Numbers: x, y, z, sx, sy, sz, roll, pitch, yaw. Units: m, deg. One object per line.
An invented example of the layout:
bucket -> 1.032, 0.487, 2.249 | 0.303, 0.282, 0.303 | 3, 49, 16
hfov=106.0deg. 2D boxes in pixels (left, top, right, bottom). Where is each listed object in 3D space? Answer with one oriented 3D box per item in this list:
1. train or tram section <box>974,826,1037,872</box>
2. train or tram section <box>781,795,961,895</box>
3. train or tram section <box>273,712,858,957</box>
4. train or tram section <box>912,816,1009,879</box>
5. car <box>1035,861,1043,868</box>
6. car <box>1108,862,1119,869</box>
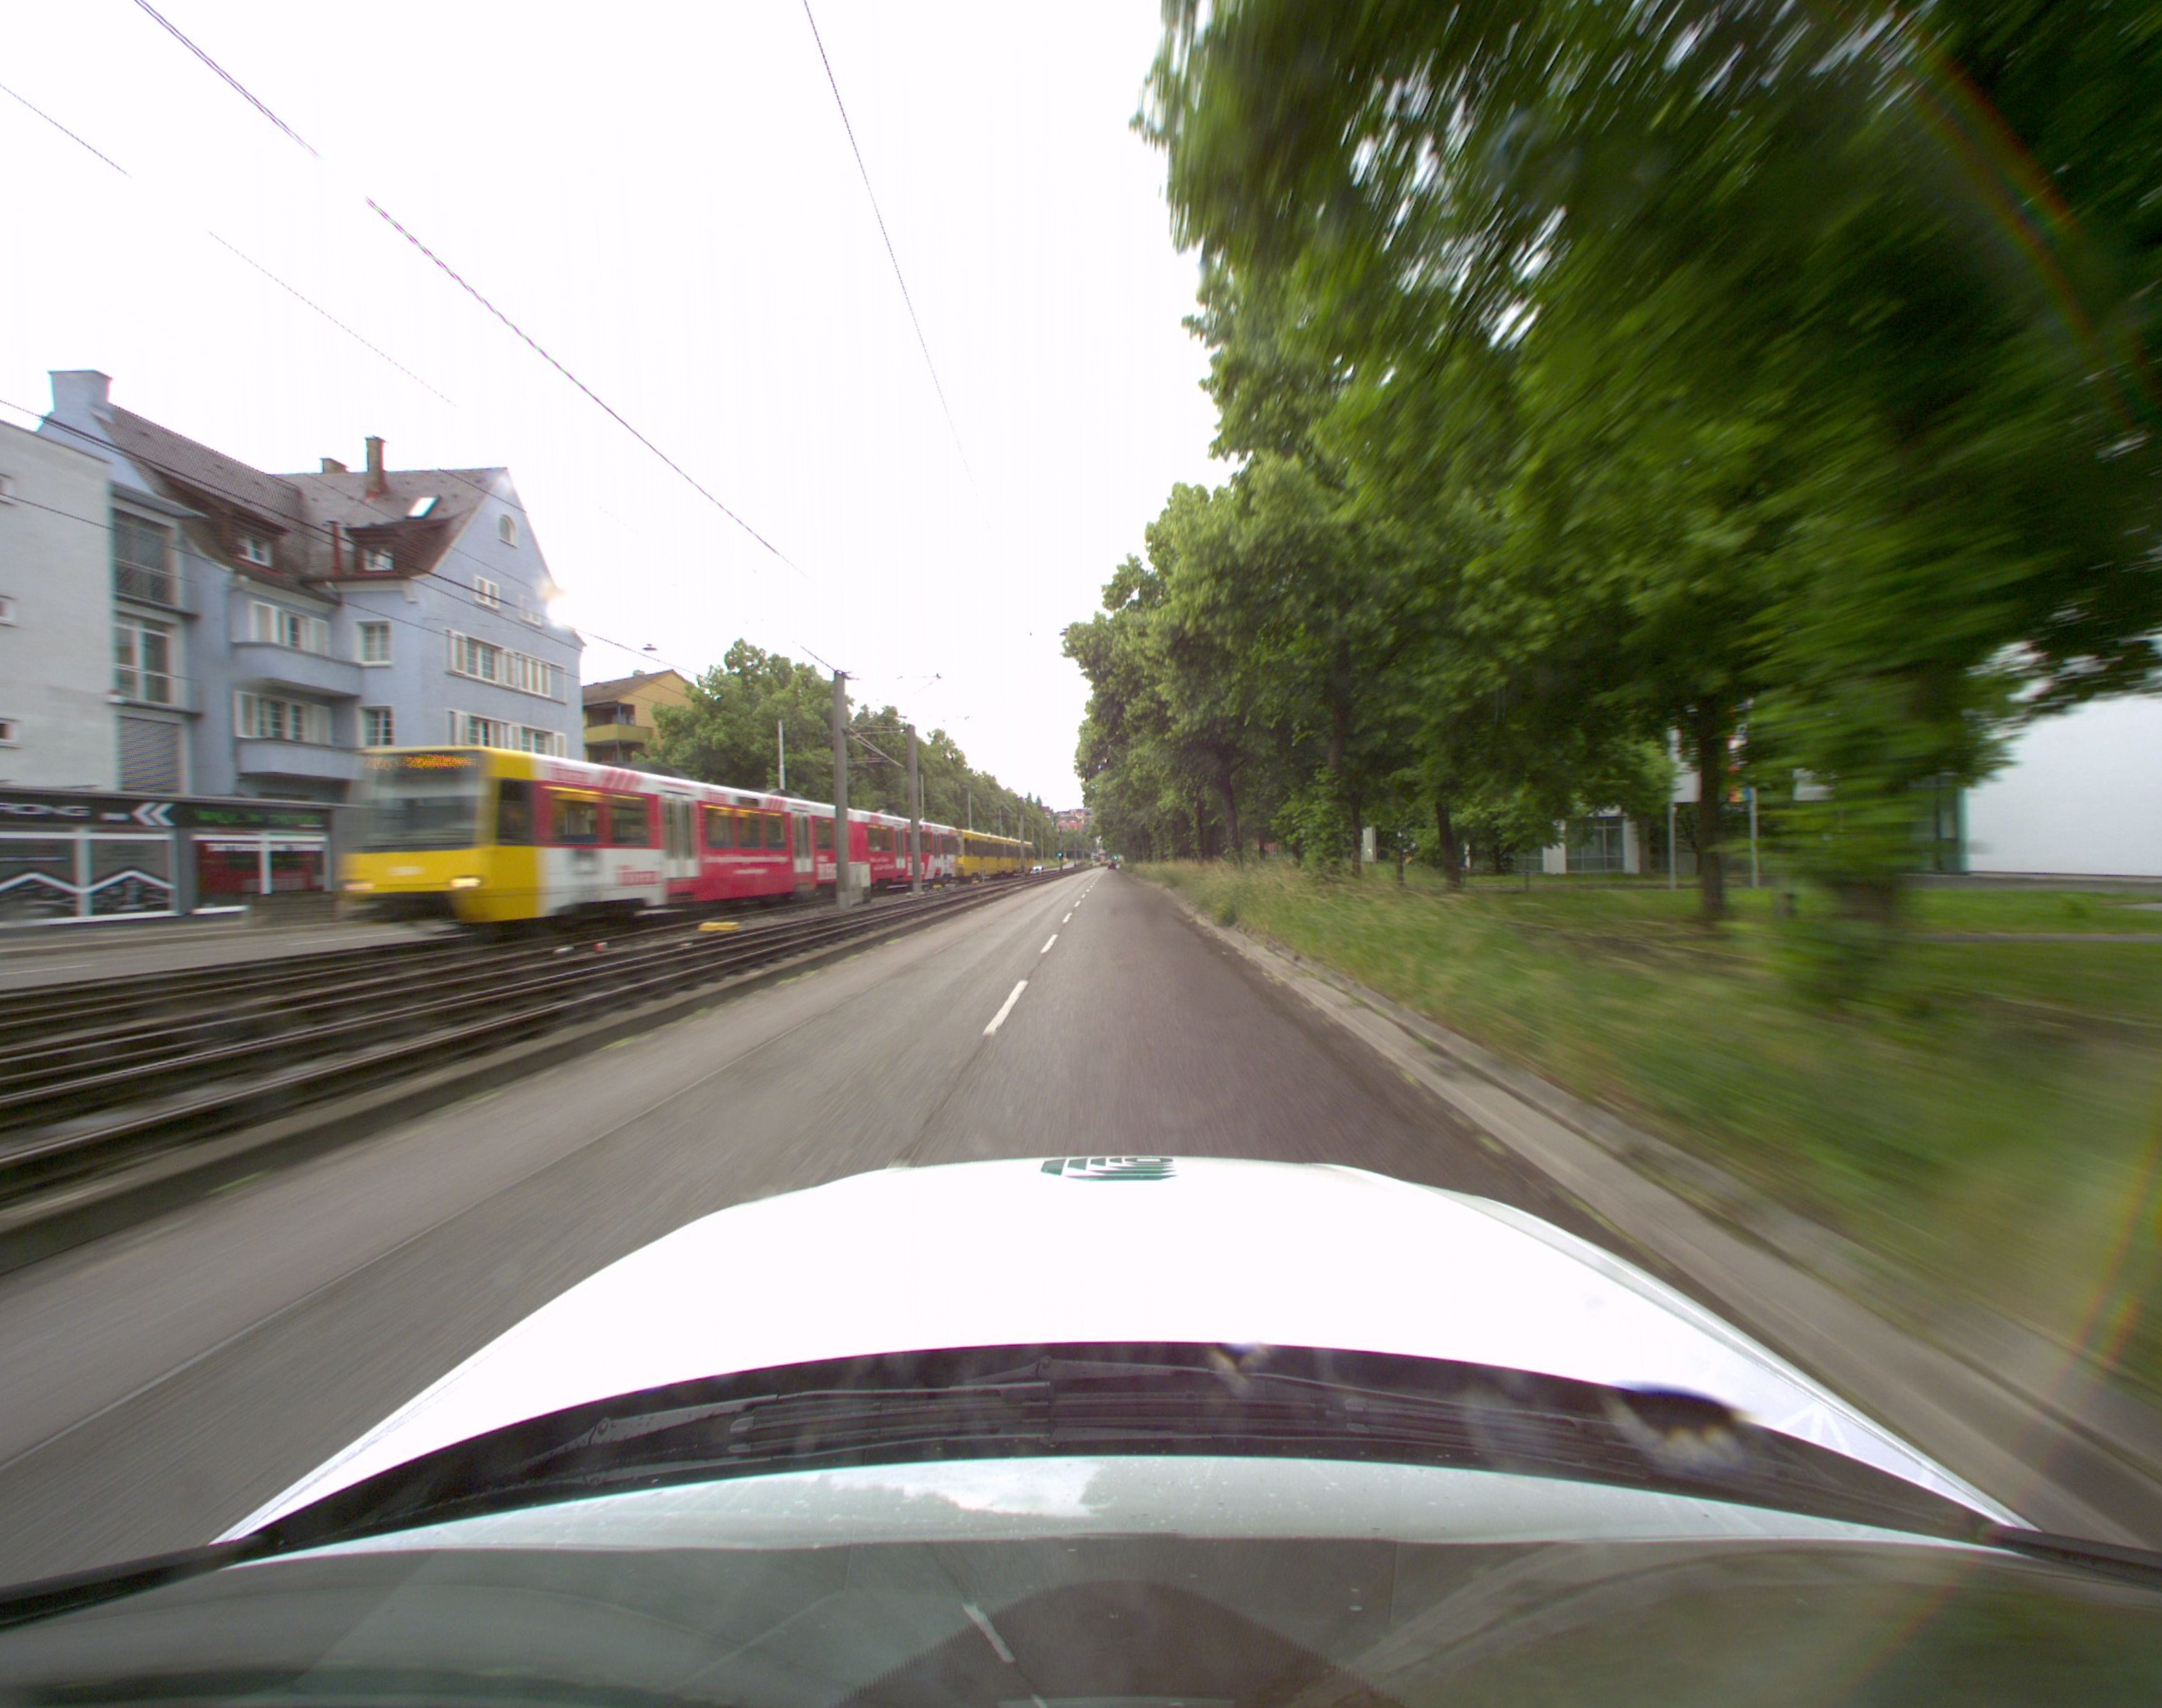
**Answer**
train or tram section -> -6.988, -0.427, 78.970 | 2.954, 3.811, 19.539 | -1, 0, 4
train or tram section -> -9.507, -0.351, 40.797 | 2.954, 3.811, 18.632 | -1, 0, 4
train or tram section -> -10.714, -0.319, 22.161 | 2.954, 3.811, 18.632 | -1, 0, 4
train or tram section -> -8.271, -0.407, 59.659 | 2.954, 3.811, 19.117 | -1, 0, 4
car -> -9.497, 2.373, 183.939 | 1.470, 1.436, 3.911 | -3, -1, 2
car -> 6.679, 2.332, 167.145 | 2.186, 1.329, 4.002 | -1, 0, 2
